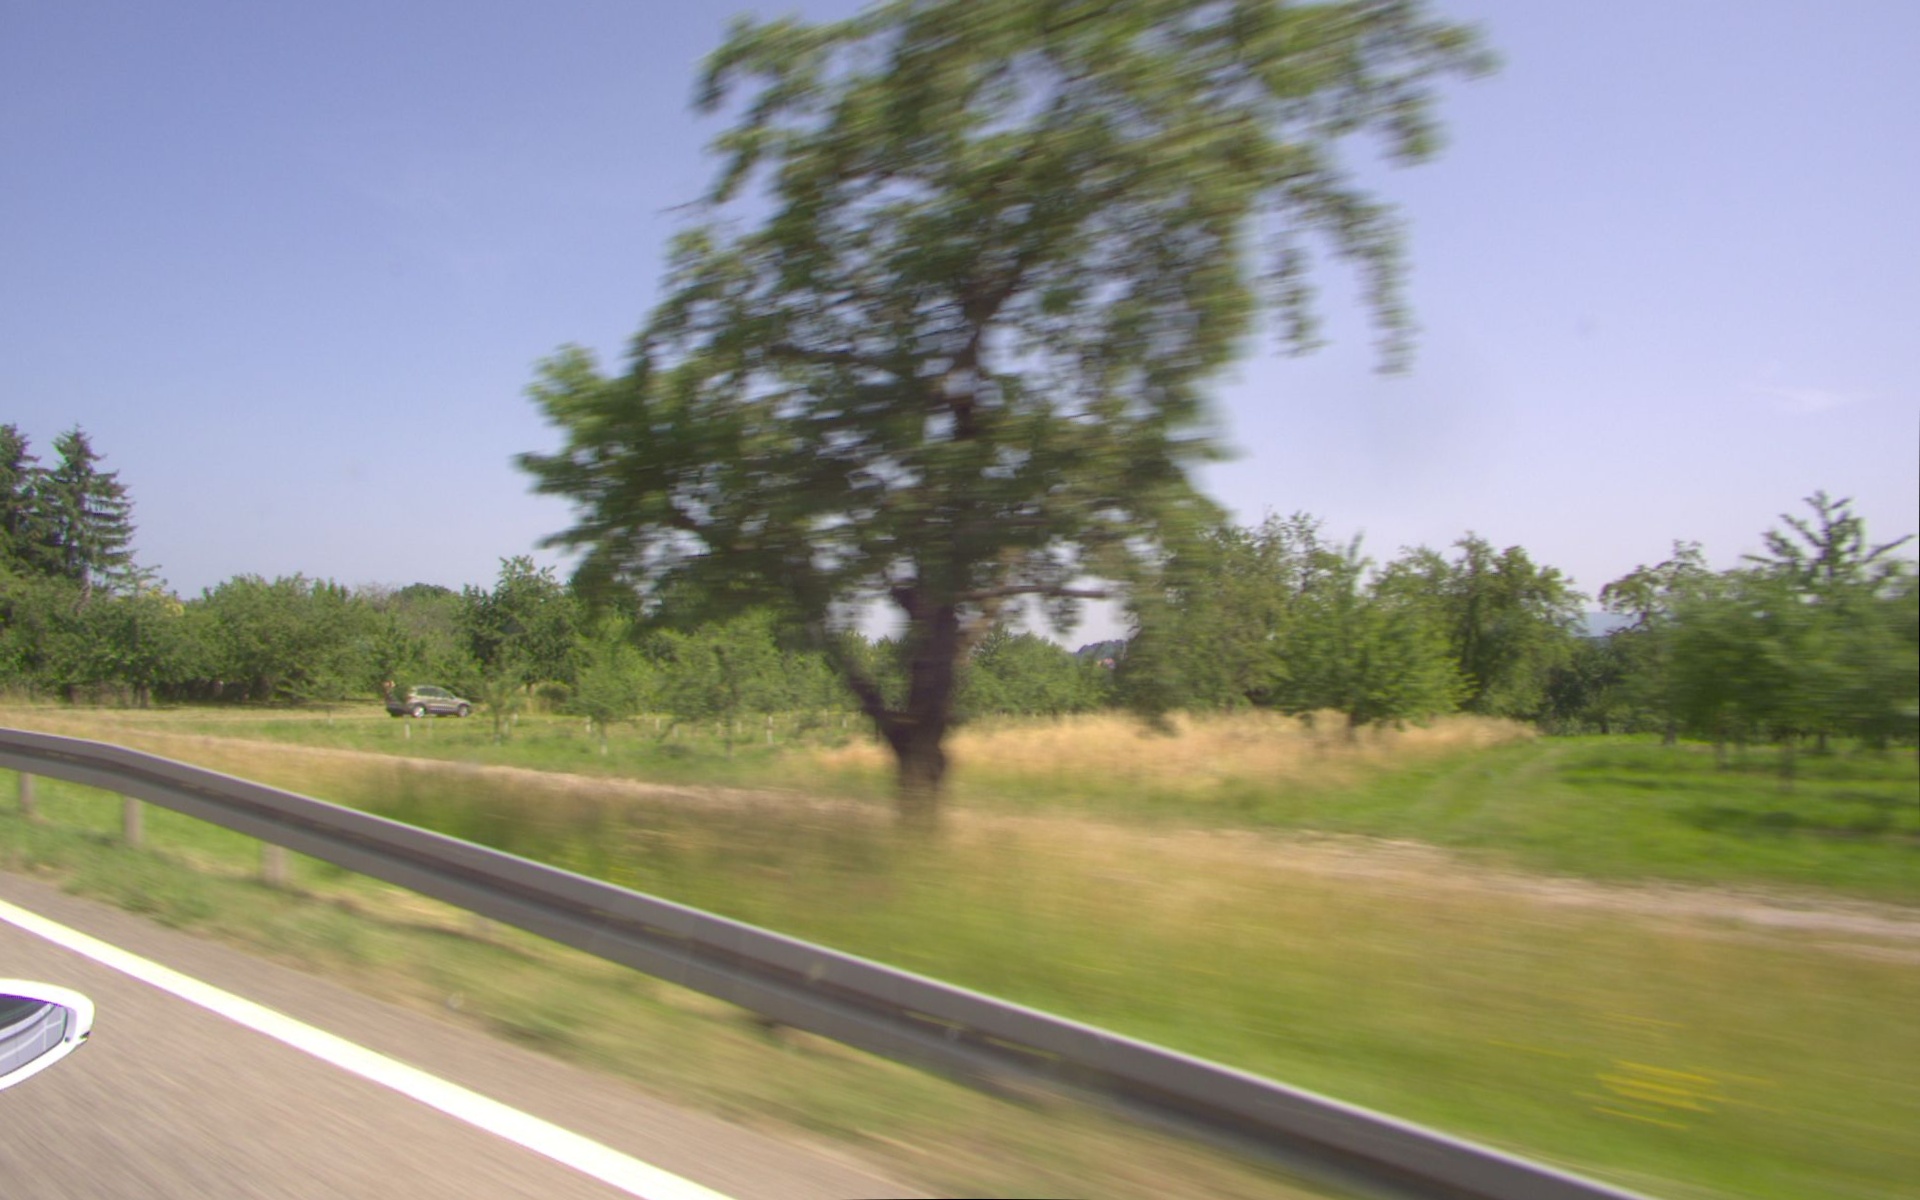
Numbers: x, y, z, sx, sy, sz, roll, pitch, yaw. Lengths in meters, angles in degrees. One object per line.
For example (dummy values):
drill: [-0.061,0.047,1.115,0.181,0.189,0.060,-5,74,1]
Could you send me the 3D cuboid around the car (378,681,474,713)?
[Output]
car: [-27.449,4.996,51.617,1.826,1.552,4.087,-1,-6,23]
